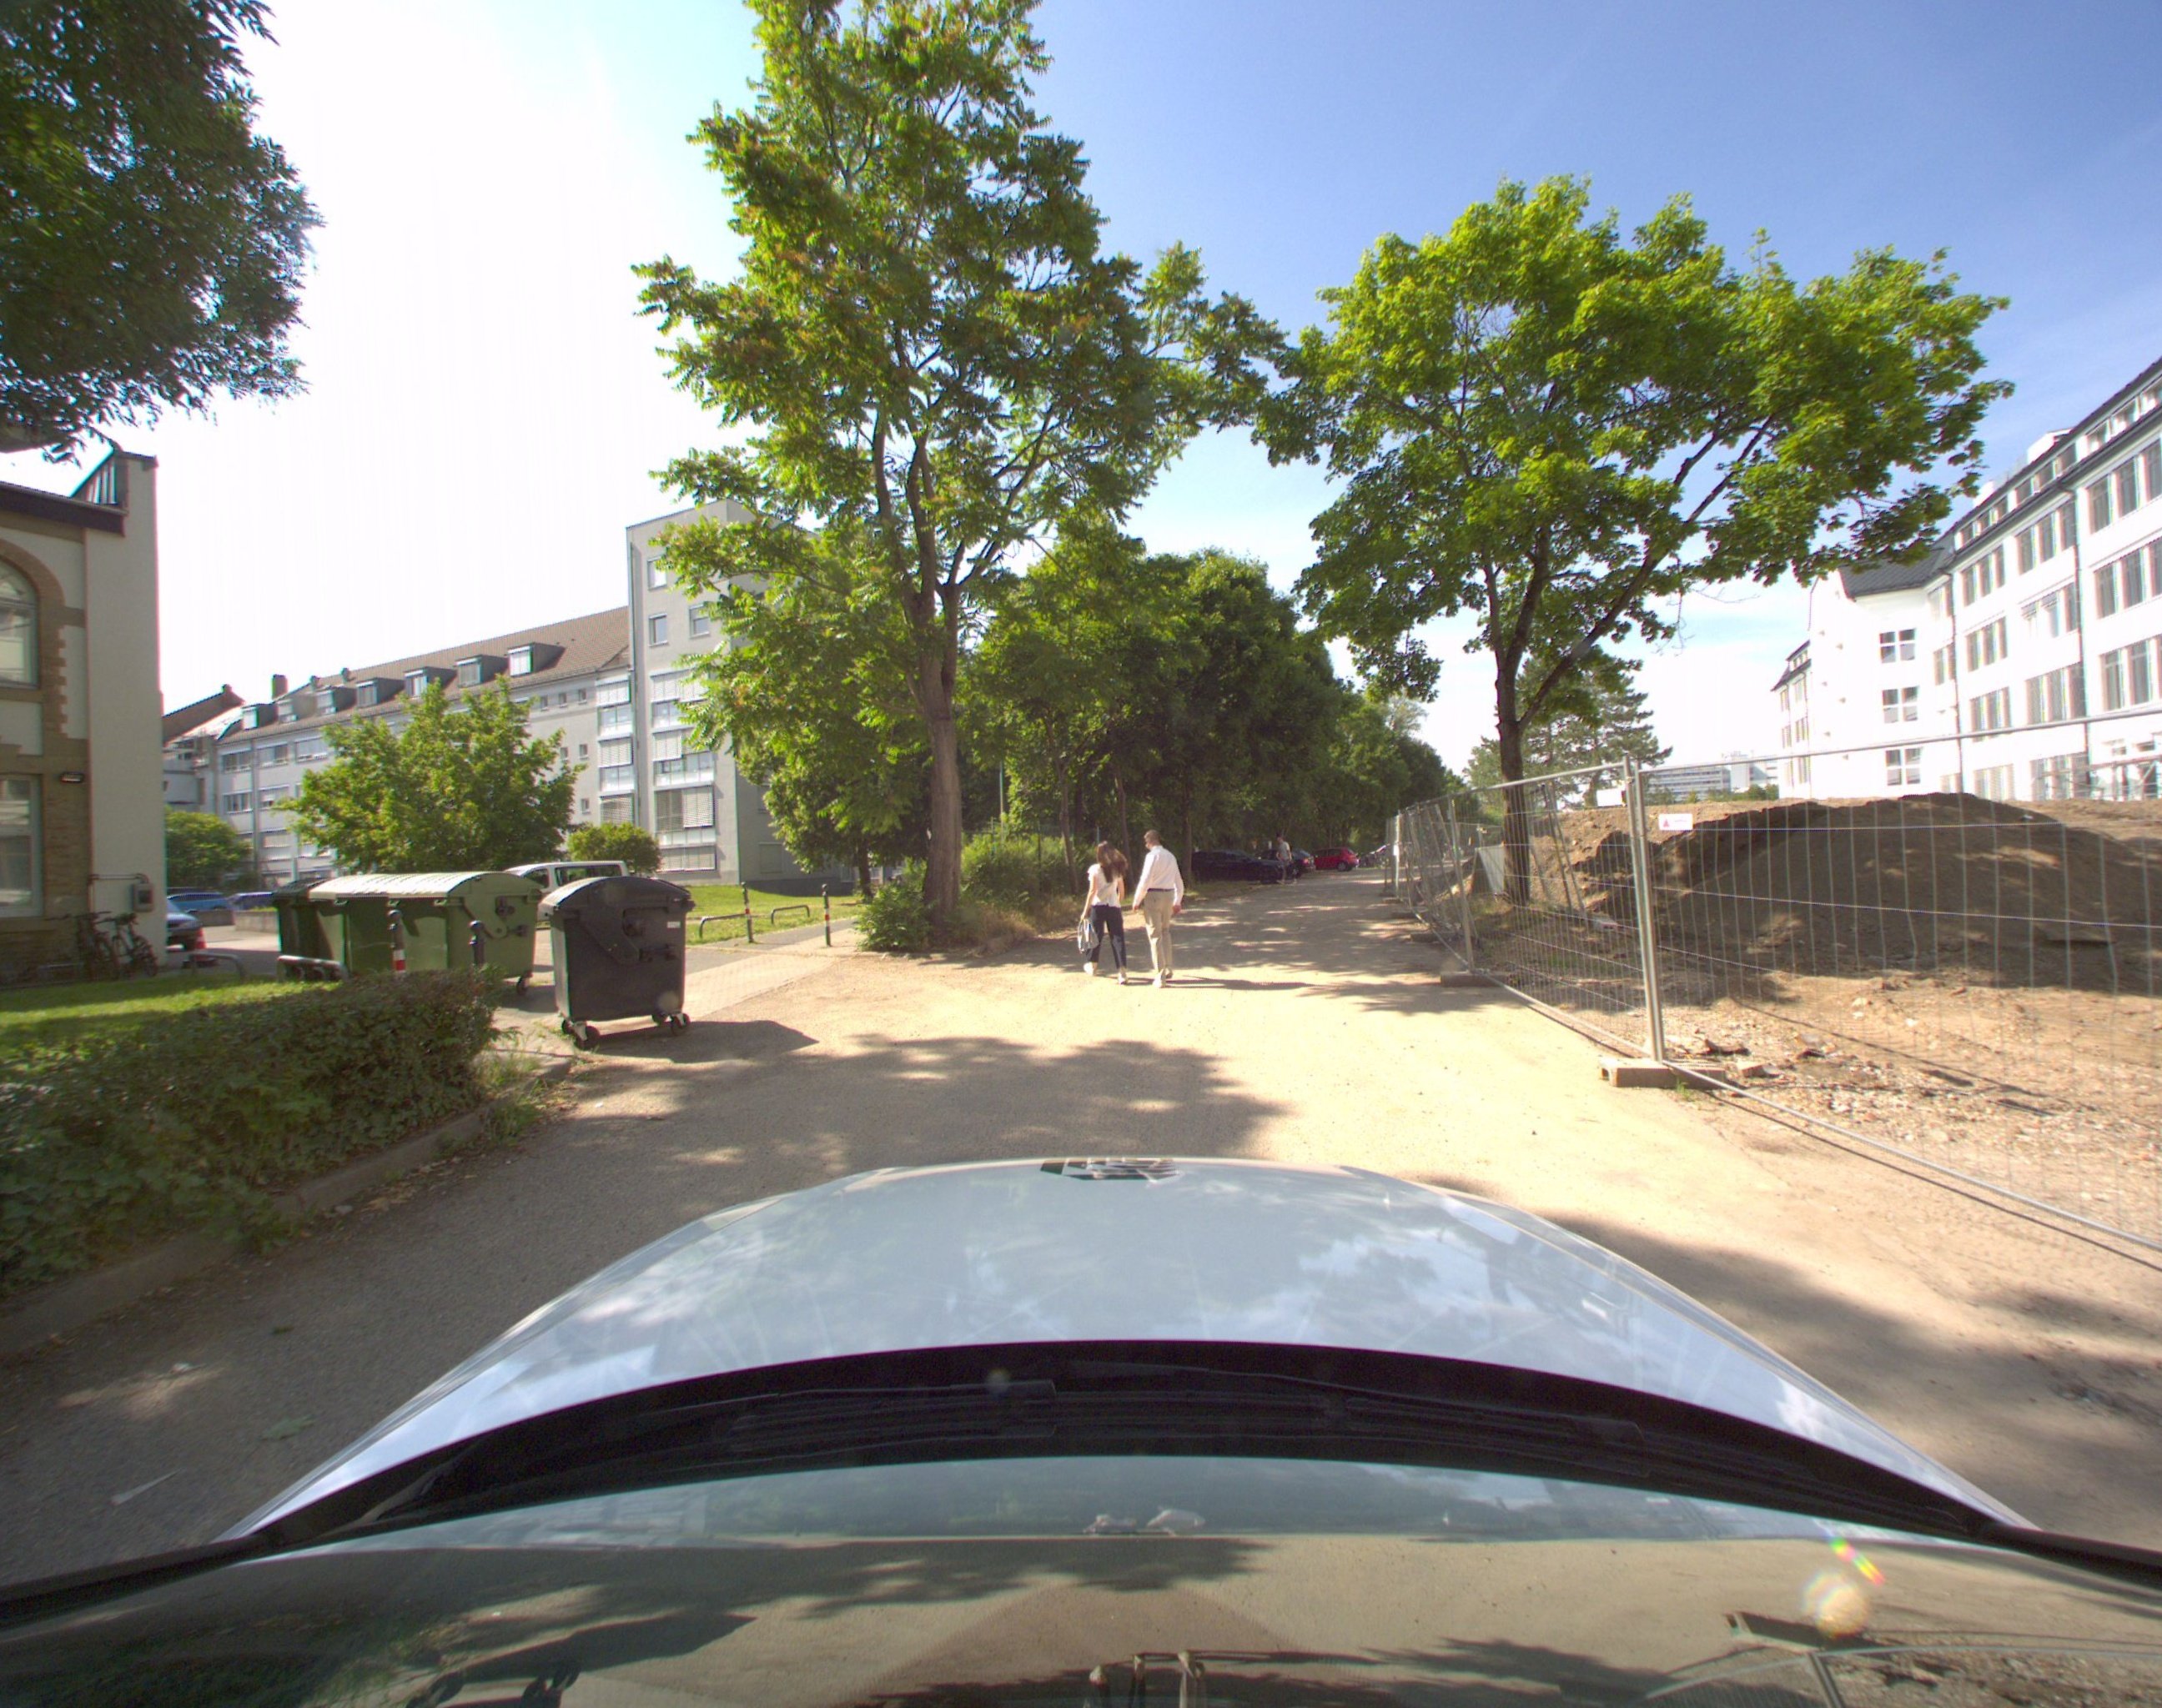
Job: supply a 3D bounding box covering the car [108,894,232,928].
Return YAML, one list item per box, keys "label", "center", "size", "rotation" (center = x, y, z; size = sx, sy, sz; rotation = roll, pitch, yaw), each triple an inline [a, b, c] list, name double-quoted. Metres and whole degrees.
- label: "car"
  center: [-51.845, 3.216, 46.447]
  size: [1.975, 1.532, 4.269]
  rotation: [-2, 1, 27]

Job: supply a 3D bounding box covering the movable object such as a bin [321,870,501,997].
- label: "movable object such as a bin"
  center: [-8.347, 0.958, 10.198]
  size: [1.209, 1.431, 1.254]
  rotation: [-3, 0, 19]

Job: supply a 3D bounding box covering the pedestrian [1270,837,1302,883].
- label: "pedestrian"
  center: [8.221, 0.247, 32.618]
  size: [1.011, 1.781, 0.819]
  rotation: [-2, 0, -1]

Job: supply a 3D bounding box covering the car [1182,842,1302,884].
- label: "car"
  center: [6.810, 0.387, 34.407]
  size: [4.616, 1.584, 2.011]
  rotation: [-2, 1, 21]

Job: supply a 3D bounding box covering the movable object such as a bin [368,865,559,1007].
- label: "movable object such as a bin"
  center: [-7.157, 0.903, 9.482]
  size: [1.322, 1.481, 1.255]
  rotation: [-3, 0, 25]

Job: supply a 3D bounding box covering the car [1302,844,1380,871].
- label: "car"
  center: [15.910, 0.223, 49.881]
  size: [4.245, 1.524, 1.904]
  rotation: [-2, 0, 28]

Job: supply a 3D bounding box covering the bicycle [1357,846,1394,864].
- label: "bicycle"
  center: [22.906, 0.061, 63.334]
  size: [2.651, 1.284, 0.823]
  rotation: [-2, 0, 24]

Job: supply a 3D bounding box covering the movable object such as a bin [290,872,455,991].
- label: "movable object such as a bin"
  center: [-9.499, 0.996, 10.940]
  size: [1.348, 1.431, 1.256]
  rotation: [-3, 0, 29]

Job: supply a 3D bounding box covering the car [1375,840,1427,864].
- label: "car"
  center: [28.389, -0.155, 72.195]
  size: [3.948, 2.013, 1.779]
  rotation: [-2, 0, 32]

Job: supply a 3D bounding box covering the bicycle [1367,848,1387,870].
- label: "bicycle"
  center: [19.013, 0.307, 52.218]
  size: [0.707, 1.284, 2.701]
  rotation: [-2, 0, 30]

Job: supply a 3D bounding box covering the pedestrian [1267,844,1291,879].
- label: "pedestrian"
  center: [9.306, 0.355, 38.243]
  size: [0.917, 1.595, 0.790]
  rotation: [-2, 1, 21]

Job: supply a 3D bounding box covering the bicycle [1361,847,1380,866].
- label: "bicycle"
  center: [20.660, 0.182, 58.094]
  size: [0.808, 1.284, 2.701]
  rotation: [-2, 0, 30]

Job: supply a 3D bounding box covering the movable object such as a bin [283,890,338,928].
- label: "movable object such as a bin"
  center: [-29.600, 2.105, 31.280]
  size: [1.127, 1.340, 1.259]
  rotation: [-3, 0, 33]

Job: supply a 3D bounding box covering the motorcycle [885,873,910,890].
- label: "motorcycle"
  center: [-14.651, 2.165, 65.169]
  size: [0.622, 1.246, 2.076]
  rotation: [-2, 0, 32]

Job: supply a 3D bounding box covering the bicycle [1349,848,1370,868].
- label: "bicycle"
  center: [18.370, 0.260, 53.662]
  size: [0.707, 1.284, 2.808]
  rotation: [-2, 0, 30]

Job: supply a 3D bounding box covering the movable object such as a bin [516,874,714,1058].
- label: "movable object such as a bin"
  center: [-4.236, 0.917, 7.375]
  size: [1.255, 1.396, 1.387]
  rotation: [-2, -1, -42]

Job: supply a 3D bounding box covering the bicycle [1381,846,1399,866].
- label: "bicycle"
  center: [21.274, 0.117, 56.112]
  size: [0.707, 1.284, 2.653]
  rotation: [-2, 0, 30]

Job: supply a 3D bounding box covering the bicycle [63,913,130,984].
- label: "bicycle"
  center: [-15.432, 1.455, 12.754]
  size: [1.609, 0.992, 0.449]
  rotation: [-2, 1, 33]

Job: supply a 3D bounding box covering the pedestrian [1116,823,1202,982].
- label: "pedestrian"
  center: [0.882, 0.525, 9.415]
  size: [0.755, 1.728, 0.851]
  rotation: [-2, 1, -9]

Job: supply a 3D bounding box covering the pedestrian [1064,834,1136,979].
- label: "pedestrian"
  center: [0.214, 0.602, 9.777]
  size: [0.734, 1.640, 0.780]
  rotation: [-2, 1, -4]

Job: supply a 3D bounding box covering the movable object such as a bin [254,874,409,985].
- label: "movable object such as a bin"
  center: [-10.769, 1.047, 11.722]
  size: [1.333, 1.431, 1.256]
  rotation: [-3, 0, 29]

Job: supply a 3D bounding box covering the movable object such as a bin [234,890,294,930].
- label: "movable object such as a bin"
  center: [-30.243, 2.064, 30.148]
  size: [1.127, 1.319, 1.259]
  rotation: [-5, 1, 32]

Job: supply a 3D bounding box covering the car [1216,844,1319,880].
- label: "car"
  center: [9.160, 0.383, 39.875]
  size: [4.616, 1.584, 2.011]
  rotation: [-2, 1, 21]

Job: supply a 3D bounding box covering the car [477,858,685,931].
- label: "car"
  center: [-15.265, 1.165, 25.197]
  size: [1.974, 1.933, 5.072]
  rotation: [-3, -1, 31]

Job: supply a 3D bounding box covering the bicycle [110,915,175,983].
- label: "bicycle"
  center: [-15.229, 1.518, 13.205]
  size: [1.521, 0.992, 0.449]
  rotation: [-2, 1, 33]

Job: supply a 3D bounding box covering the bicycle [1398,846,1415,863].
- label: "bicycle"
  center: [25.246, 0.033, 63.213]
  size: [0.808, 1.284, 2.763]
  rotation: [-2, 0, 30]

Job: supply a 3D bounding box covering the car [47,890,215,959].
- label: "car"
  center: [-23.290, 1.729, 19.942]
  size: [4.373, 1.442, 1.854]
  rotation: [-5, -3, 29]

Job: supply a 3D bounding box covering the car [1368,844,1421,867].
- label: "car"
  center: [26.797, 0.122, 69.632]
  size: [3.948, 1.772, 1.779]
  rotation: [-2, 0, 32]
